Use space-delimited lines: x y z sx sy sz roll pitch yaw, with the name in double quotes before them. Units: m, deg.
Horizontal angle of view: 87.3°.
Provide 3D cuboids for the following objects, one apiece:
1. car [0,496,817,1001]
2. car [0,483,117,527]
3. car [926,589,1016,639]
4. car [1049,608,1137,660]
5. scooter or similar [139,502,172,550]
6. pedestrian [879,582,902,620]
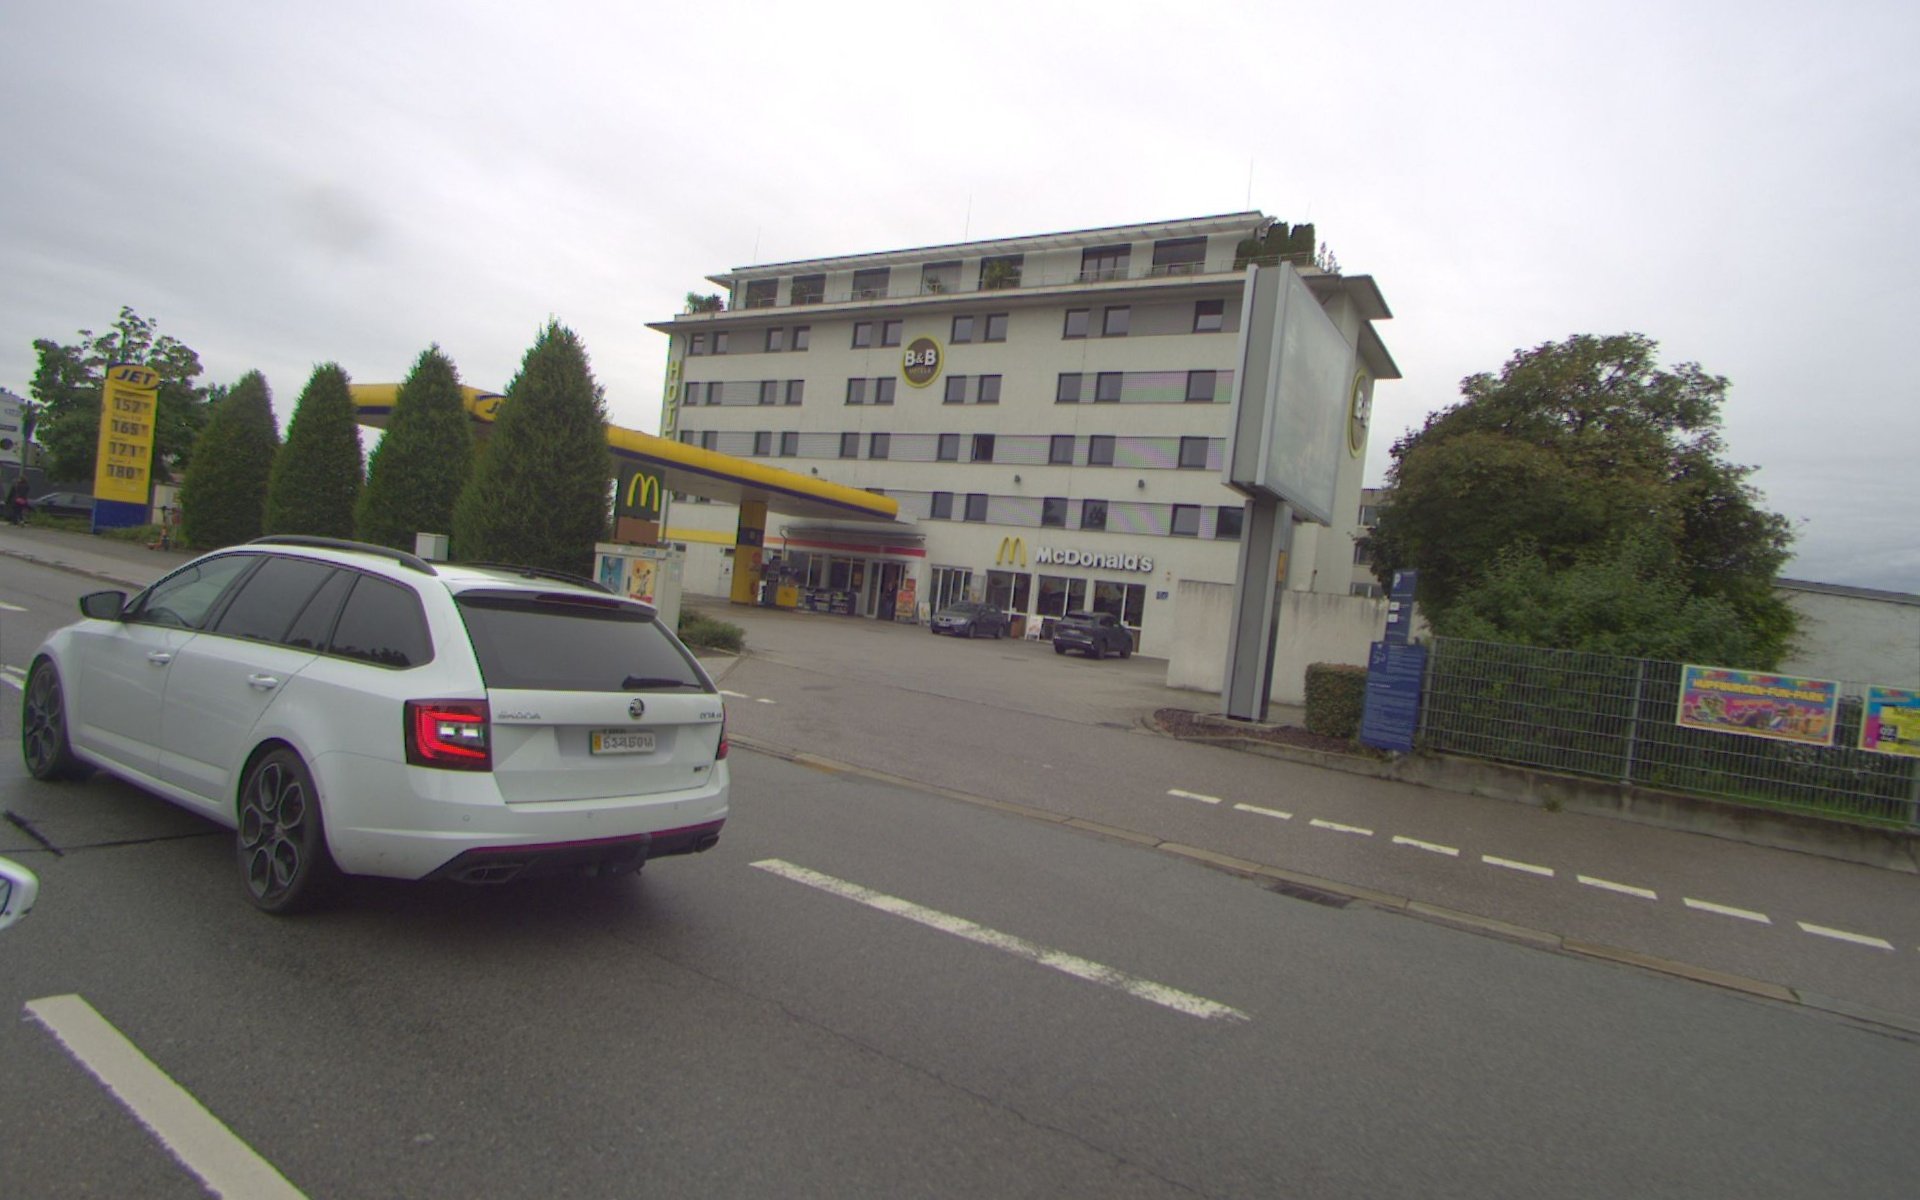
"car" -3.148 0.458 5.311 4.426 1.485 1.881 7 -1 31
"car" -41.934 -4.391 46.395 1.969 1.445 4.251 7 0 35
"car" 0.495 0.605 40.327 1.678 1.606 3.993 7 0 31
"car" 5.027 1.307 37.595 1.678 1.606 3.993 7 0 31
"scooter or similar" -23.042 -2.124 28.801 1.522 1.259 0.355 7 3 38
"pedestrian" -3.405 0.042 49.119 0.632 1.749 0.708 7 0 29
